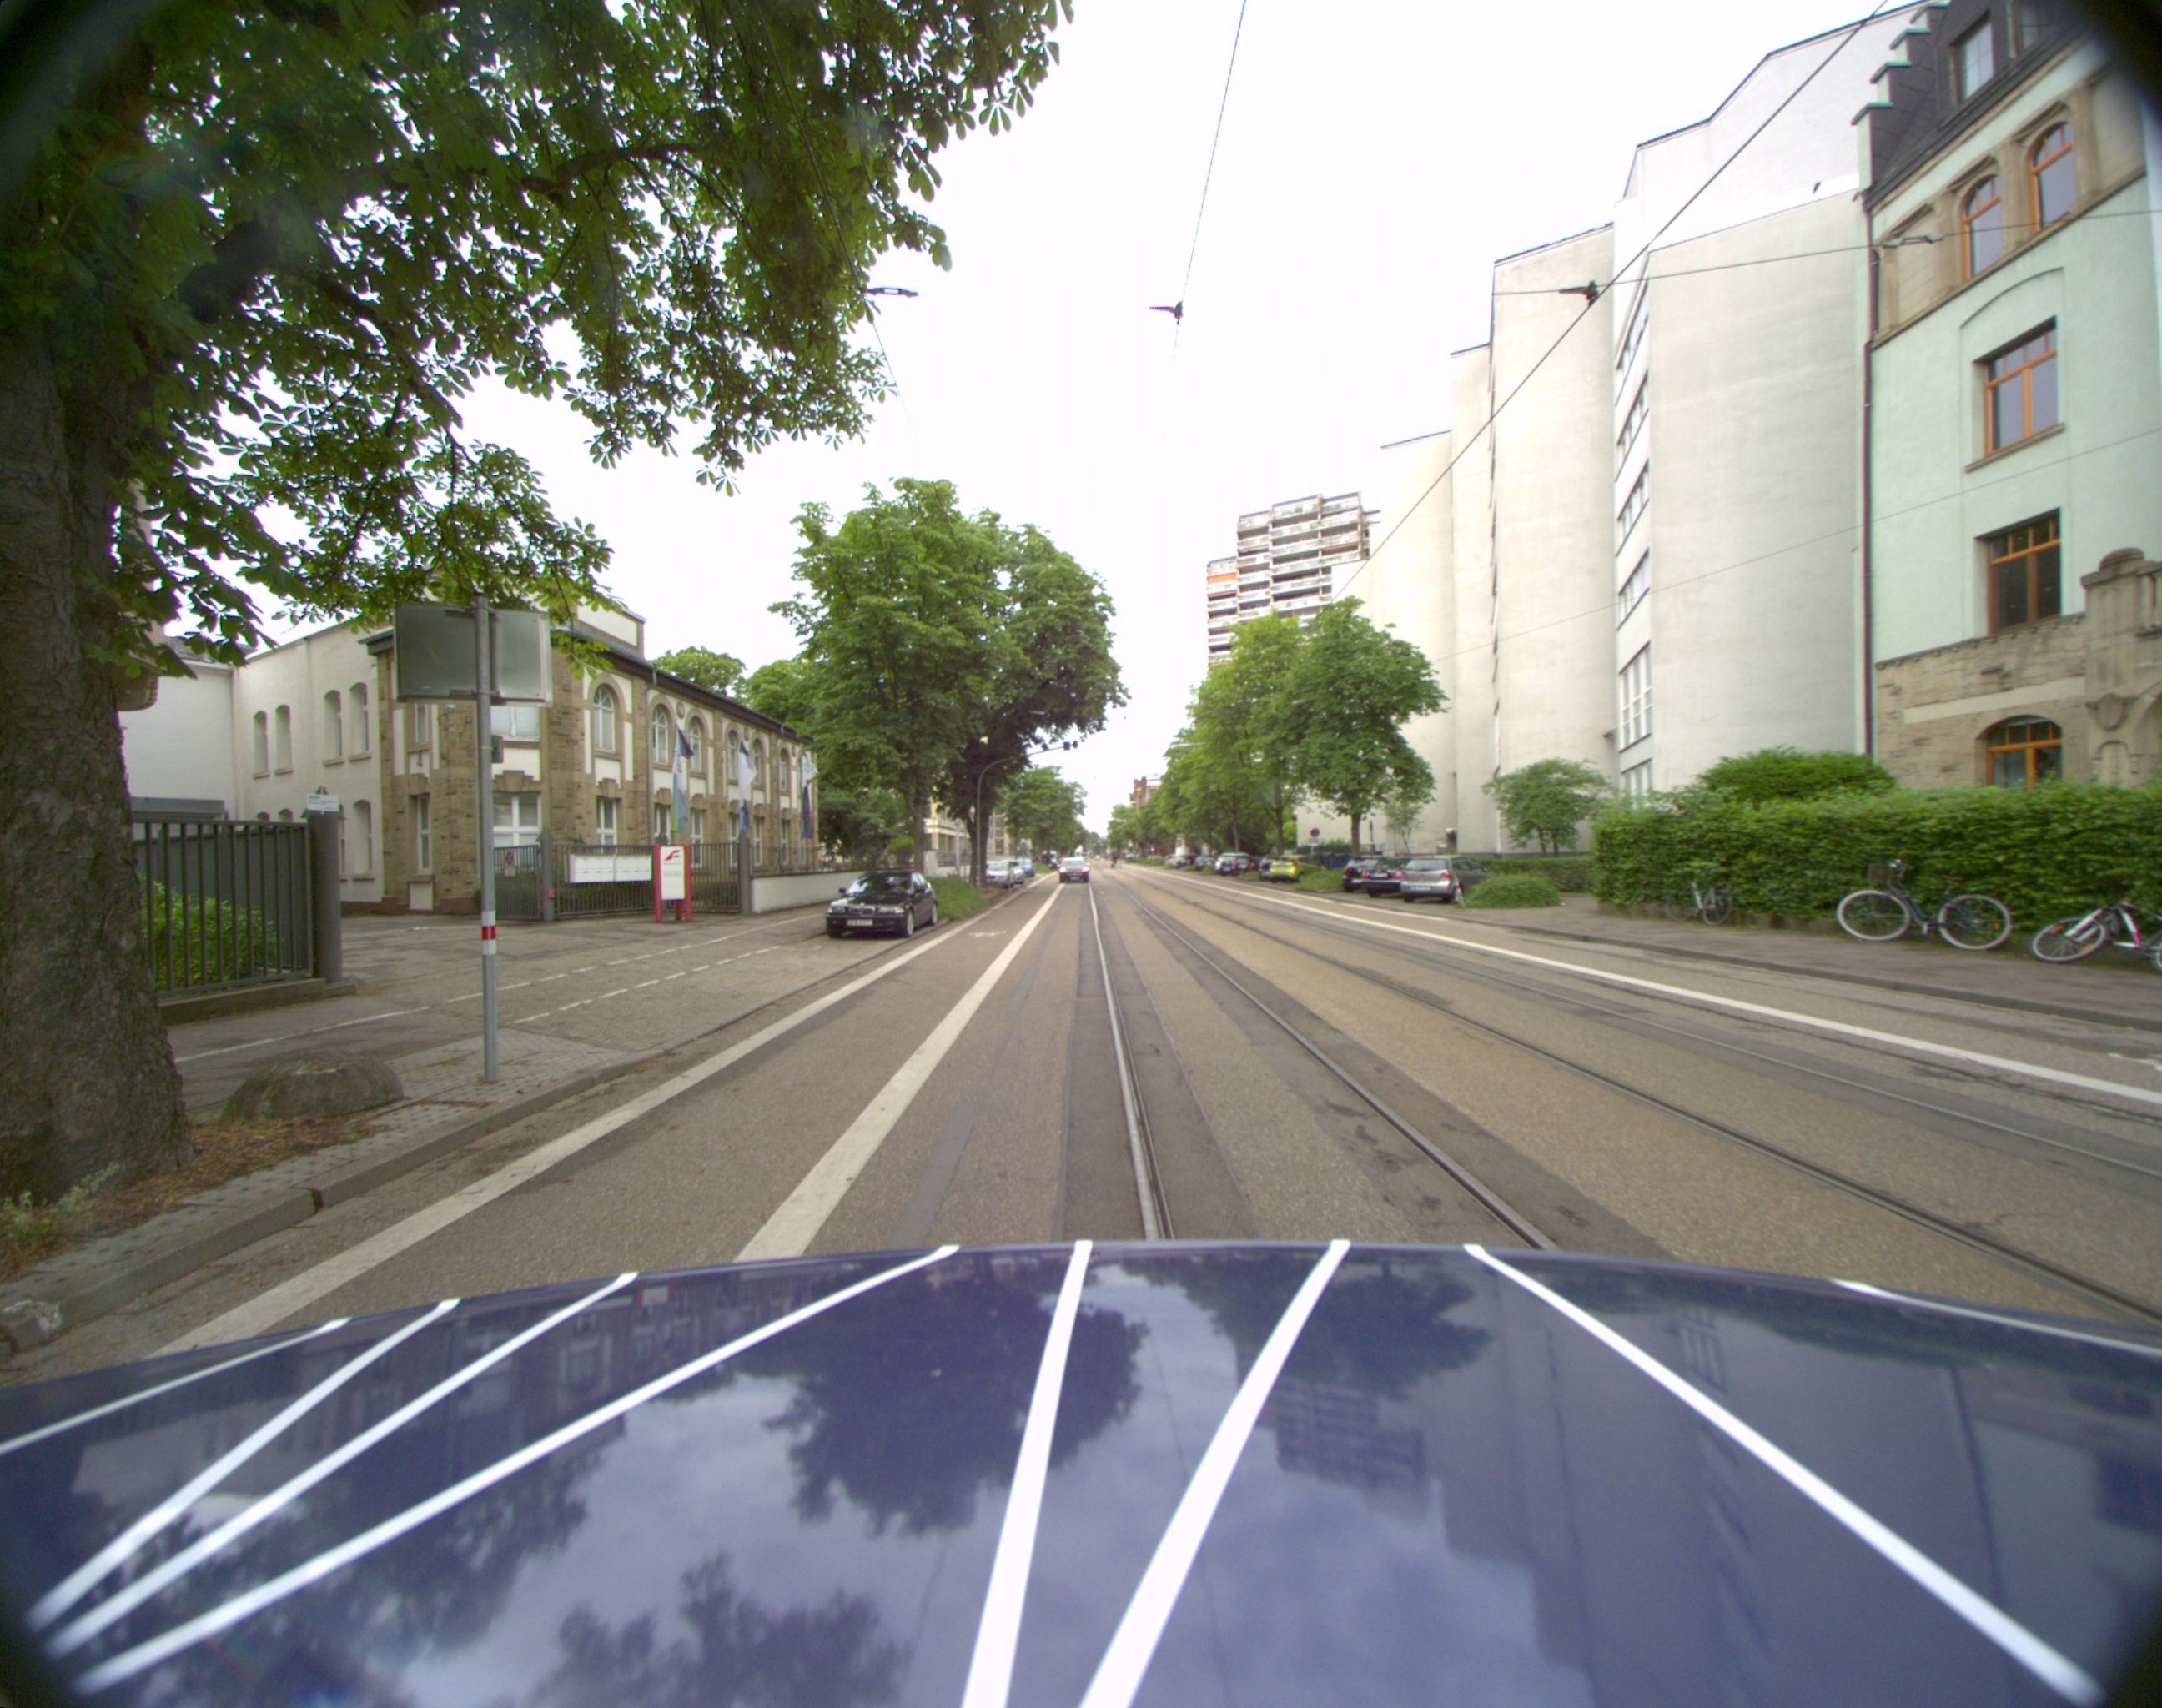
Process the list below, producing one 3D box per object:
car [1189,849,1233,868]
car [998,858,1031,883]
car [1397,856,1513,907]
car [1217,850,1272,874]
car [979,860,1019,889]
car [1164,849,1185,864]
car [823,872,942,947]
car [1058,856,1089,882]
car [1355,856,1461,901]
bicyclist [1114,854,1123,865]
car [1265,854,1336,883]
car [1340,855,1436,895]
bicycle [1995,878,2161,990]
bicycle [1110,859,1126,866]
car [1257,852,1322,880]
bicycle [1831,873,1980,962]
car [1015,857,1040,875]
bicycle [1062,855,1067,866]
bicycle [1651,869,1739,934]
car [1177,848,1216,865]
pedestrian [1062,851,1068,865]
[{"bbox_3d":[11.387,0.362,66.324,4.008,1.611,1.690,-1,1,-43],"label":"car"},{"bbox_3d":[-4.049,1.006,46.776,1.606,1.416,3.837,1,0,1],"label":"car"},{"bbox_3d":[11.557,0.792,23.377,4.008,1.395,1.691,-1,0,-39],"label":"car"},{"bbox_3d":[11.273,0.527,52.384,4.008,1.611,1.690,-1,1,-43],"label":"car"},{"bbox_3d":[-4.237,1.052,39.637,1.606,1.362,3.837,1,0,1],"label":"car"},{"bbox_3d":[10.554,0.313,85.933,1.694,1.611,3.999,-1,0,-1],"label":"car"},{"bbox_3d":[-4.309,1.160,17.064,1.606,1.362,3.837,1,0,1],"label":"car"},{"bbox_3d":[-0.416,0.873,45.249,1.606,1.427,3.777,-3,0,2],"label":"car"},{"bbox_3d":[11.347,0.783,26.270,4.008,1.395,1.691,-1,0,-39],"label":"car"},{"bbox_3d":[4.431,0.678,89.512,0.875,1.247,0.752,-1,1,-7],"label":"bicyclist"},{"bbox_3d":[11.485,0.710,39.608,4.008,1.387,1.690,-1,0,-43],"label":"car"},{"bbox_3d":[11.910,0.749,29.374,4.008,1.395,1.691,-1,0,-39],"label":"car"},{"bbox_3d":[11.066,0.827,8.279,0.360,1.077,1.546,-1,0,1],"label":"bicycle"},{"bbox_3d":[4.343,0.983,89.510,1.890,0.784,0.568,-1,1,-6],"label":"bicycle"},{"bbox_3d":[11.737,0.662,42.656,4.008,1.434,1.690,-1,0,-43],"label":"car"},{"bbox_3d":[11.170,0.820,10.359,0.360,1.077,1.546,-1,0,1],"label":"bicycle"},{"bbox_3d":[-4.176,0.923,59.290,1.606,1.362,3.837,1,0,1],"label":"car"},{"bbox_3d":[-1.790,0.683,82.430,0.414,1.197,1.707,-1,0,1],"label":"bicycle"},{"bbox_3d":[11.189,0.832,13.900,0.360,1.077,1.546,-1,0,1],"label":"bicycle"},{"bbox_3d":[11.563,0.252,75.627,4.008,1.611,1.690,-1,1,-43],"label":"car"},{"bbox_3d":[-1.730,0.406,82.376,0.684,1.541,0.704,-1,1,1],"label":"pedestrian"}]
